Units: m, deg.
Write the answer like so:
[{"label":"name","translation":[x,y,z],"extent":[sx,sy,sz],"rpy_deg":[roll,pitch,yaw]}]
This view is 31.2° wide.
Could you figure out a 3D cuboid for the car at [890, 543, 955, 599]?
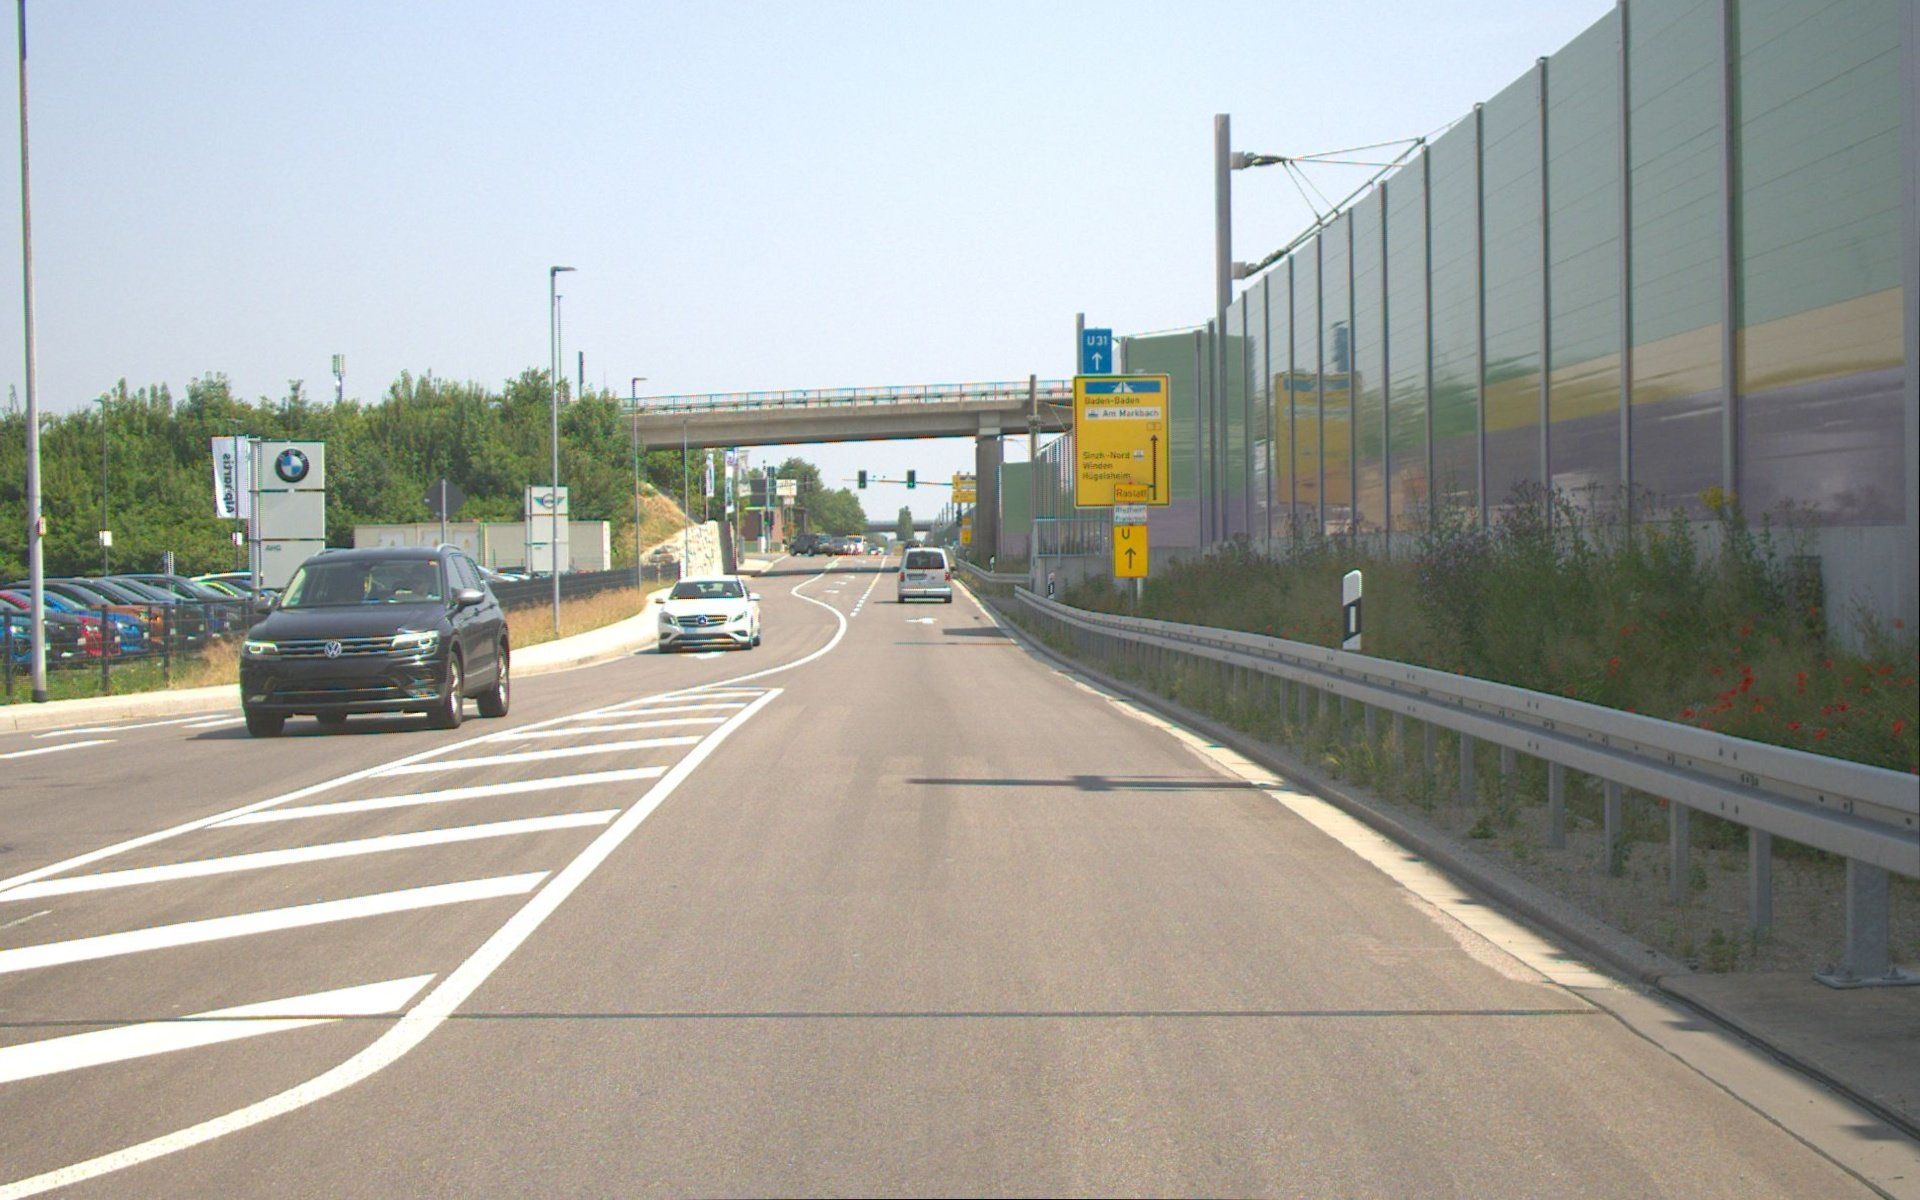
[{"label":"car","translation":[-1.209,-0.956,112.148],"extent":[1.993,1.751,4.000],"rpy_deg":[-1,2,1]}]

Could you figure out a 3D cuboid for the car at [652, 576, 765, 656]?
[{"label":"car","translation":[-4.813,0.289,66.212],"extent":[1.781,1.411,4.050],"rpy_deg":[-1,1,1]}]

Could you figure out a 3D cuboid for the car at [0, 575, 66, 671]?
[{"label":"car","translation":[-16.899,0.401,56.370],"extent":[3.986,1.475,1.911],"rpy_deg":[-1,2,-2]}]

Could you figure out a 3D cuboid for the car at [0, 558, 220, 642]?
[{"label":"car","translation":[-17.032,-0.019,68.935],"extent":[3.986,1.529,1.816],"rpy_deg":[-1,2,-2]}]

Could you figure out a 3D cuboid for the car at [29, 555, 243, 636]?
[{"label":"car","translation":[-17.071,-0.101,71.366],"extent":[3.986,1.529,1.972],"rpy_deg":[-1,2,-2]}]

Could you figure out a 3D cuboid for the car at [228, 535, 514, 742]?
[{"label":"car","translation":[-5.269,0.288,31.283],"extent":[1.877,1.667,4.291],"rpy_deg":[-1,2,0]}]

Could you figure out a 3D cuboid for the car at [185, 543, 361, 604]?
[{"label":"car","translation":[-17.857,-0.694,89.484],"extent":[4.164,1.461,1.815],"rpy_deg":[-1,2,0]}]
